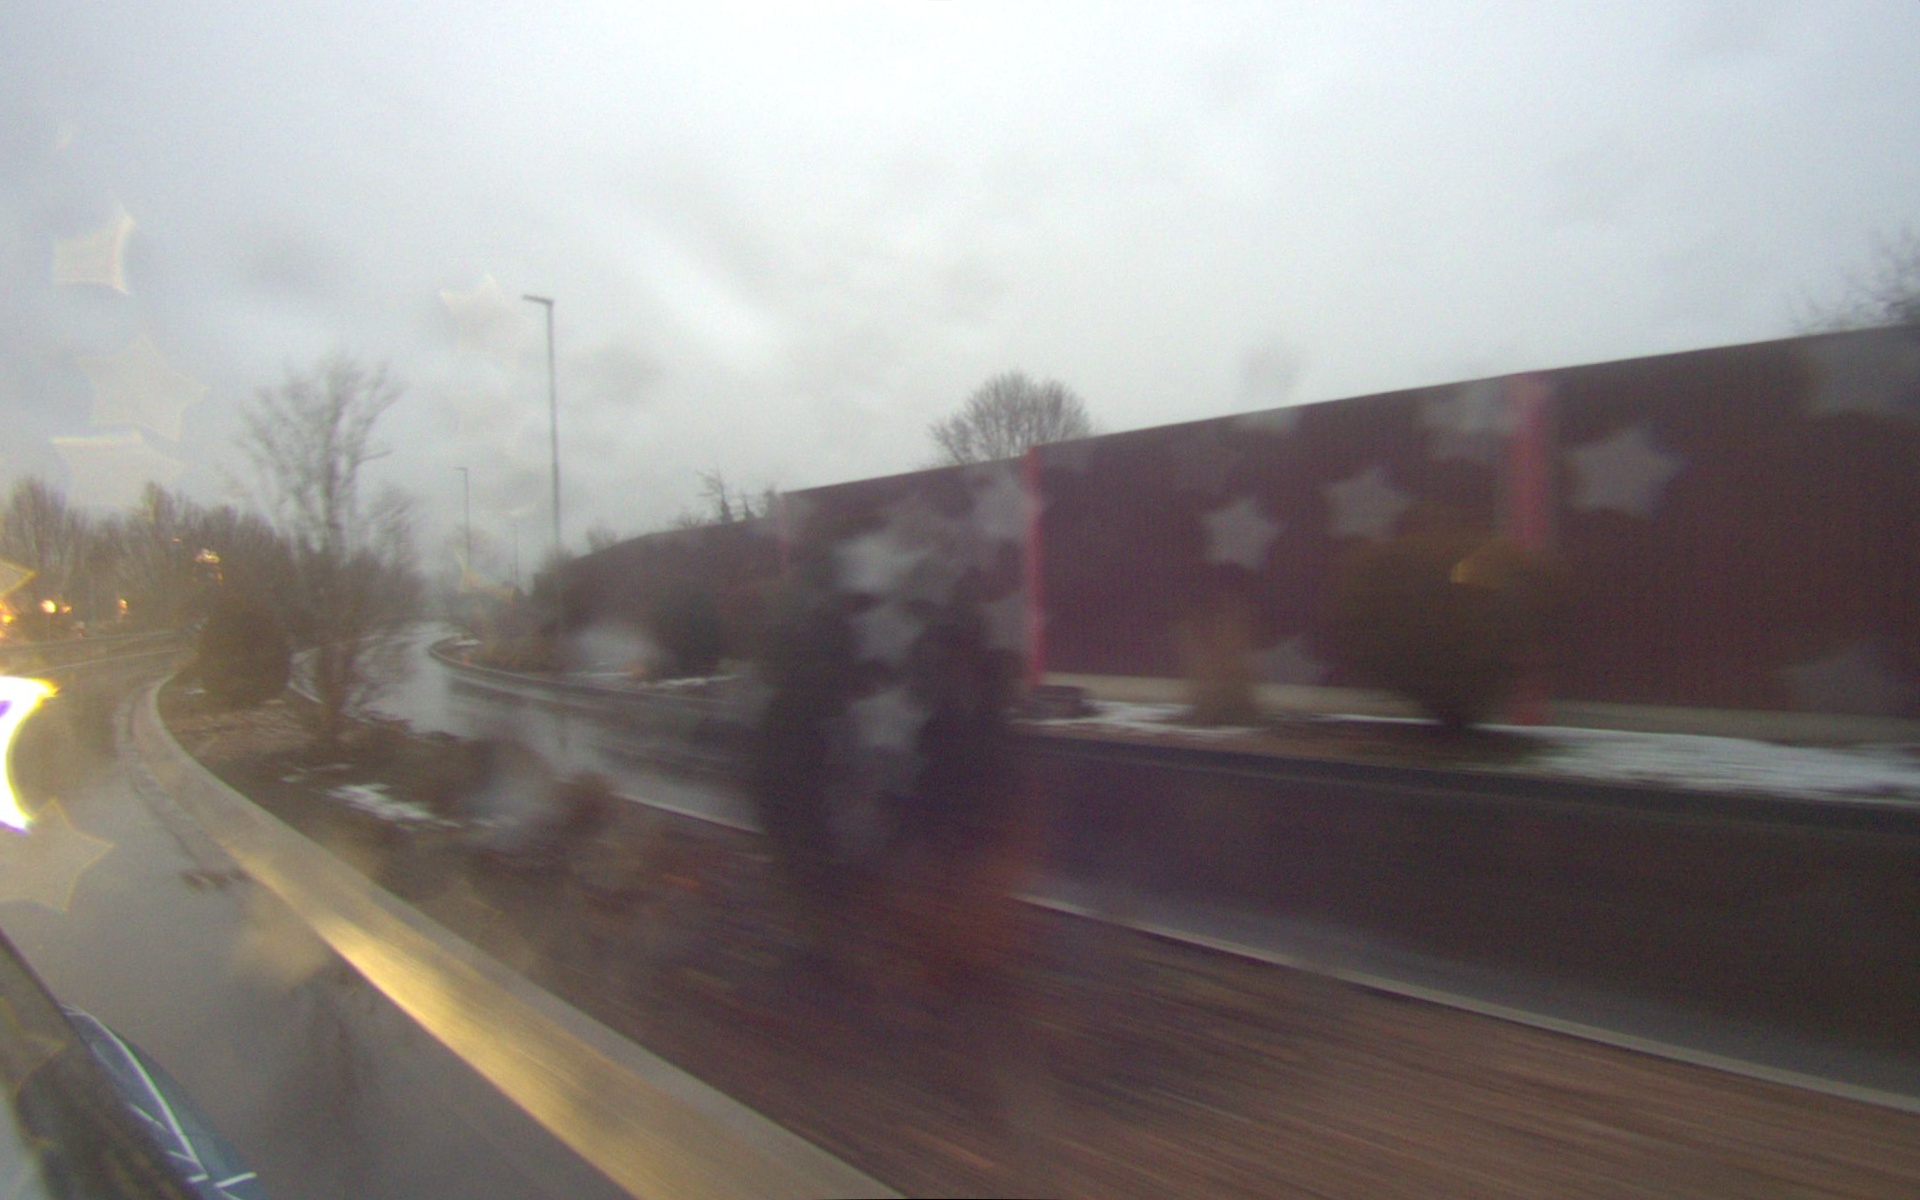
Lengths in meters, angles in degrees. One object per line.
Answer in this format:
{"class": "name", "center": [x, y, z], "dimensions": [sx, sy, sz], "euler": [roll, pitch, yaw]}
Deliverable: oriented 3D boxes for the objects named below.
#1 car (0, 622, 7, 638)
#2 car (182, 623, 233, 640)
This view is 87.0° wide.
{"class": "car", "center": [-96.739, 2.991, 99.550], "dimensions": [3.944, 1.609, 1.812], "euler": [-1, 0, -27]}
{"class": "car", "center": [-77.278, 3.221, 103.991], "dimensions": [3.945, 1.609, 1.812], "euler": [-1, 0, -30]}
